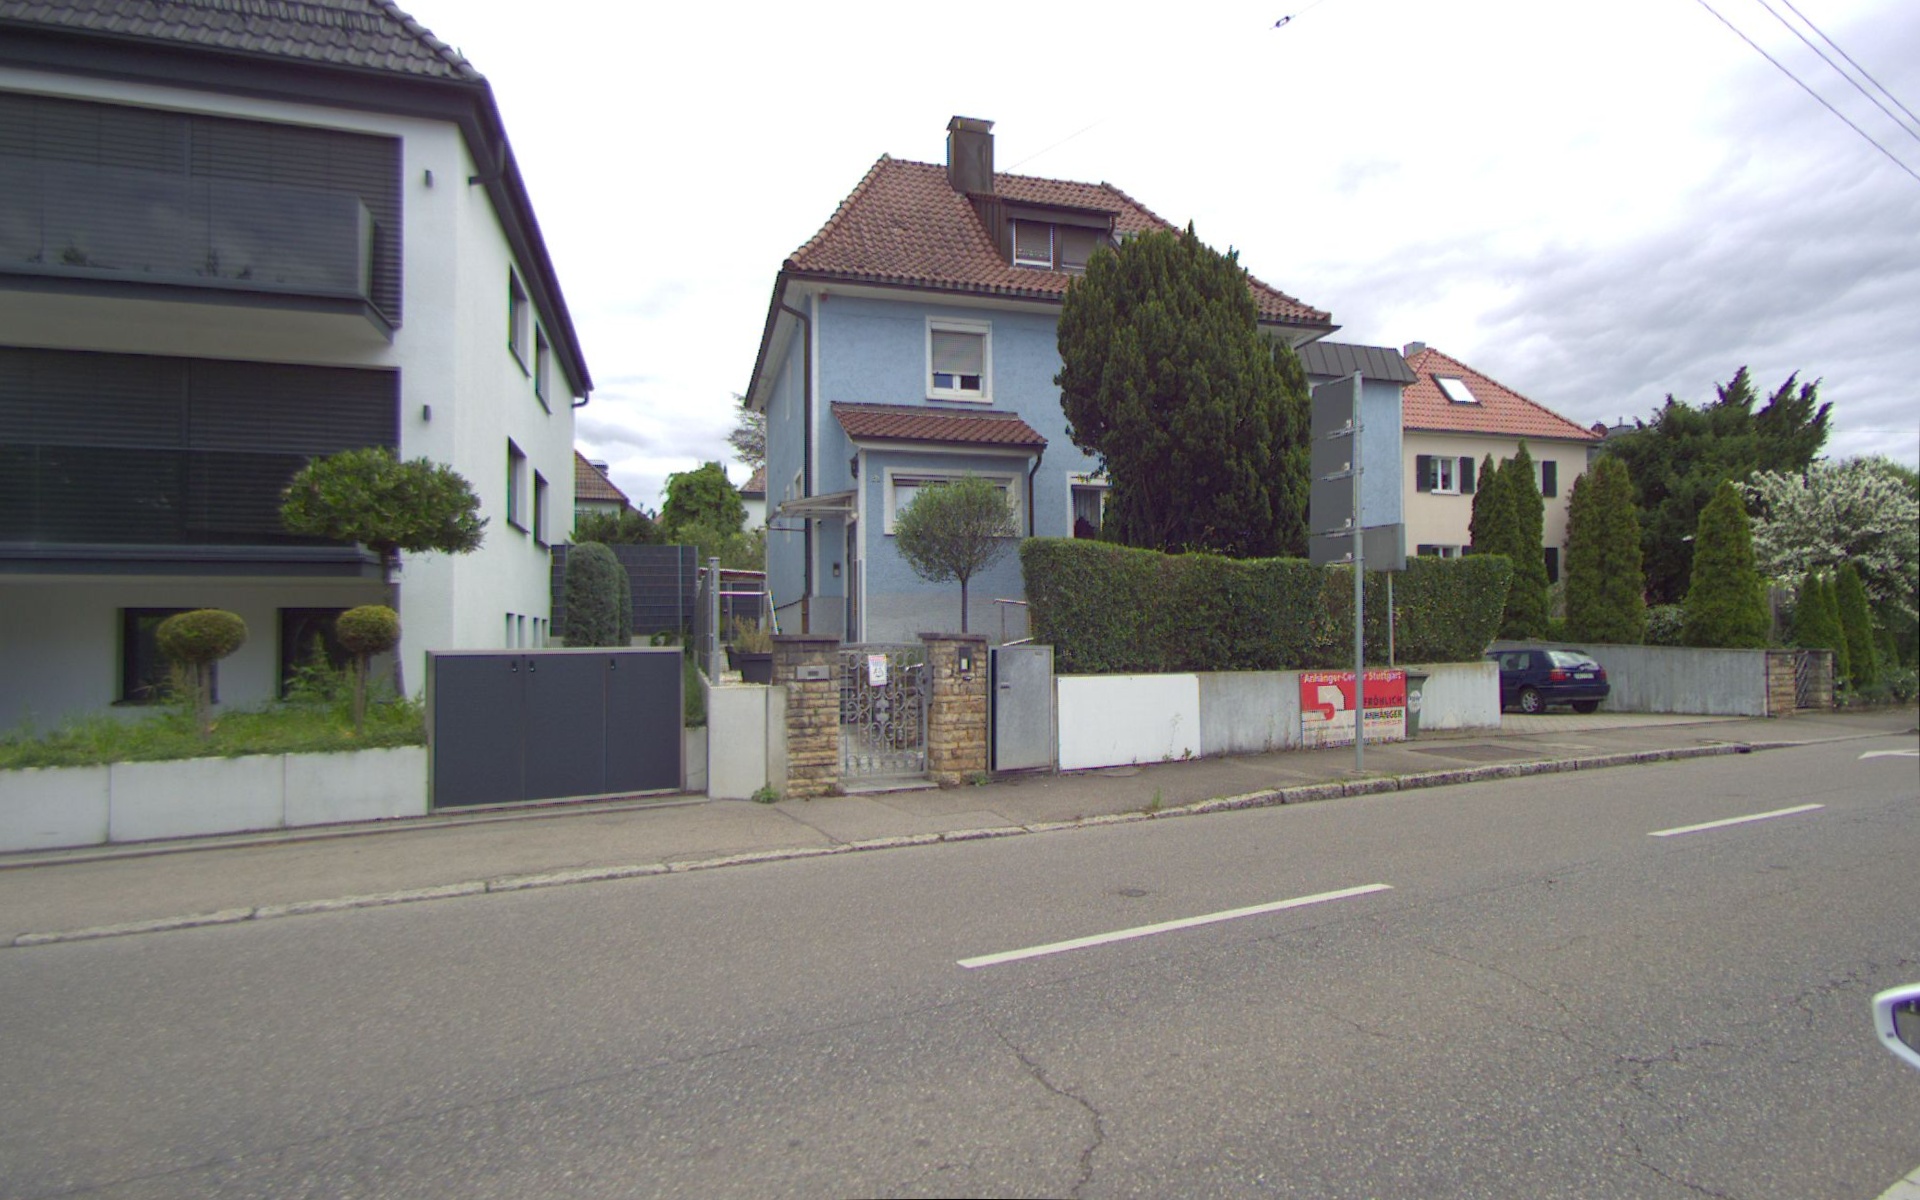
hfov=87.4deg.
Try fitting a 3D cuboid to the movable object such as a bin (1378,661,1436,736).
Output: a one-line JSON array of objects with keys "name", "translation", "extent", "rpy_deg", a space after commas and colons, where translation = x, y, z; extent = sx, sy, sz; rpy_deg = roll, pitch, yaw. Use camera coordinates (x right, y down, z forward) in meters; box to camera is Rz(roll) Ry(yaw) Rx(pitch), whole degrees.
[{"name": "movable object such as a bin", "translation": [6.156, 1.342, 13.835], "extent": [0.533, 0.986, 0.505], "rpy_deg": [1, -2, -27]}]

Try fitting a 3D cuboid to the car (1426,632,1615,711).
[{"name": "car", "translation": [12.407, 1.591, 22.495], "extent": [1.615, 1.612, 3.590], "rpy_deg": [1, -4, -16]}]
